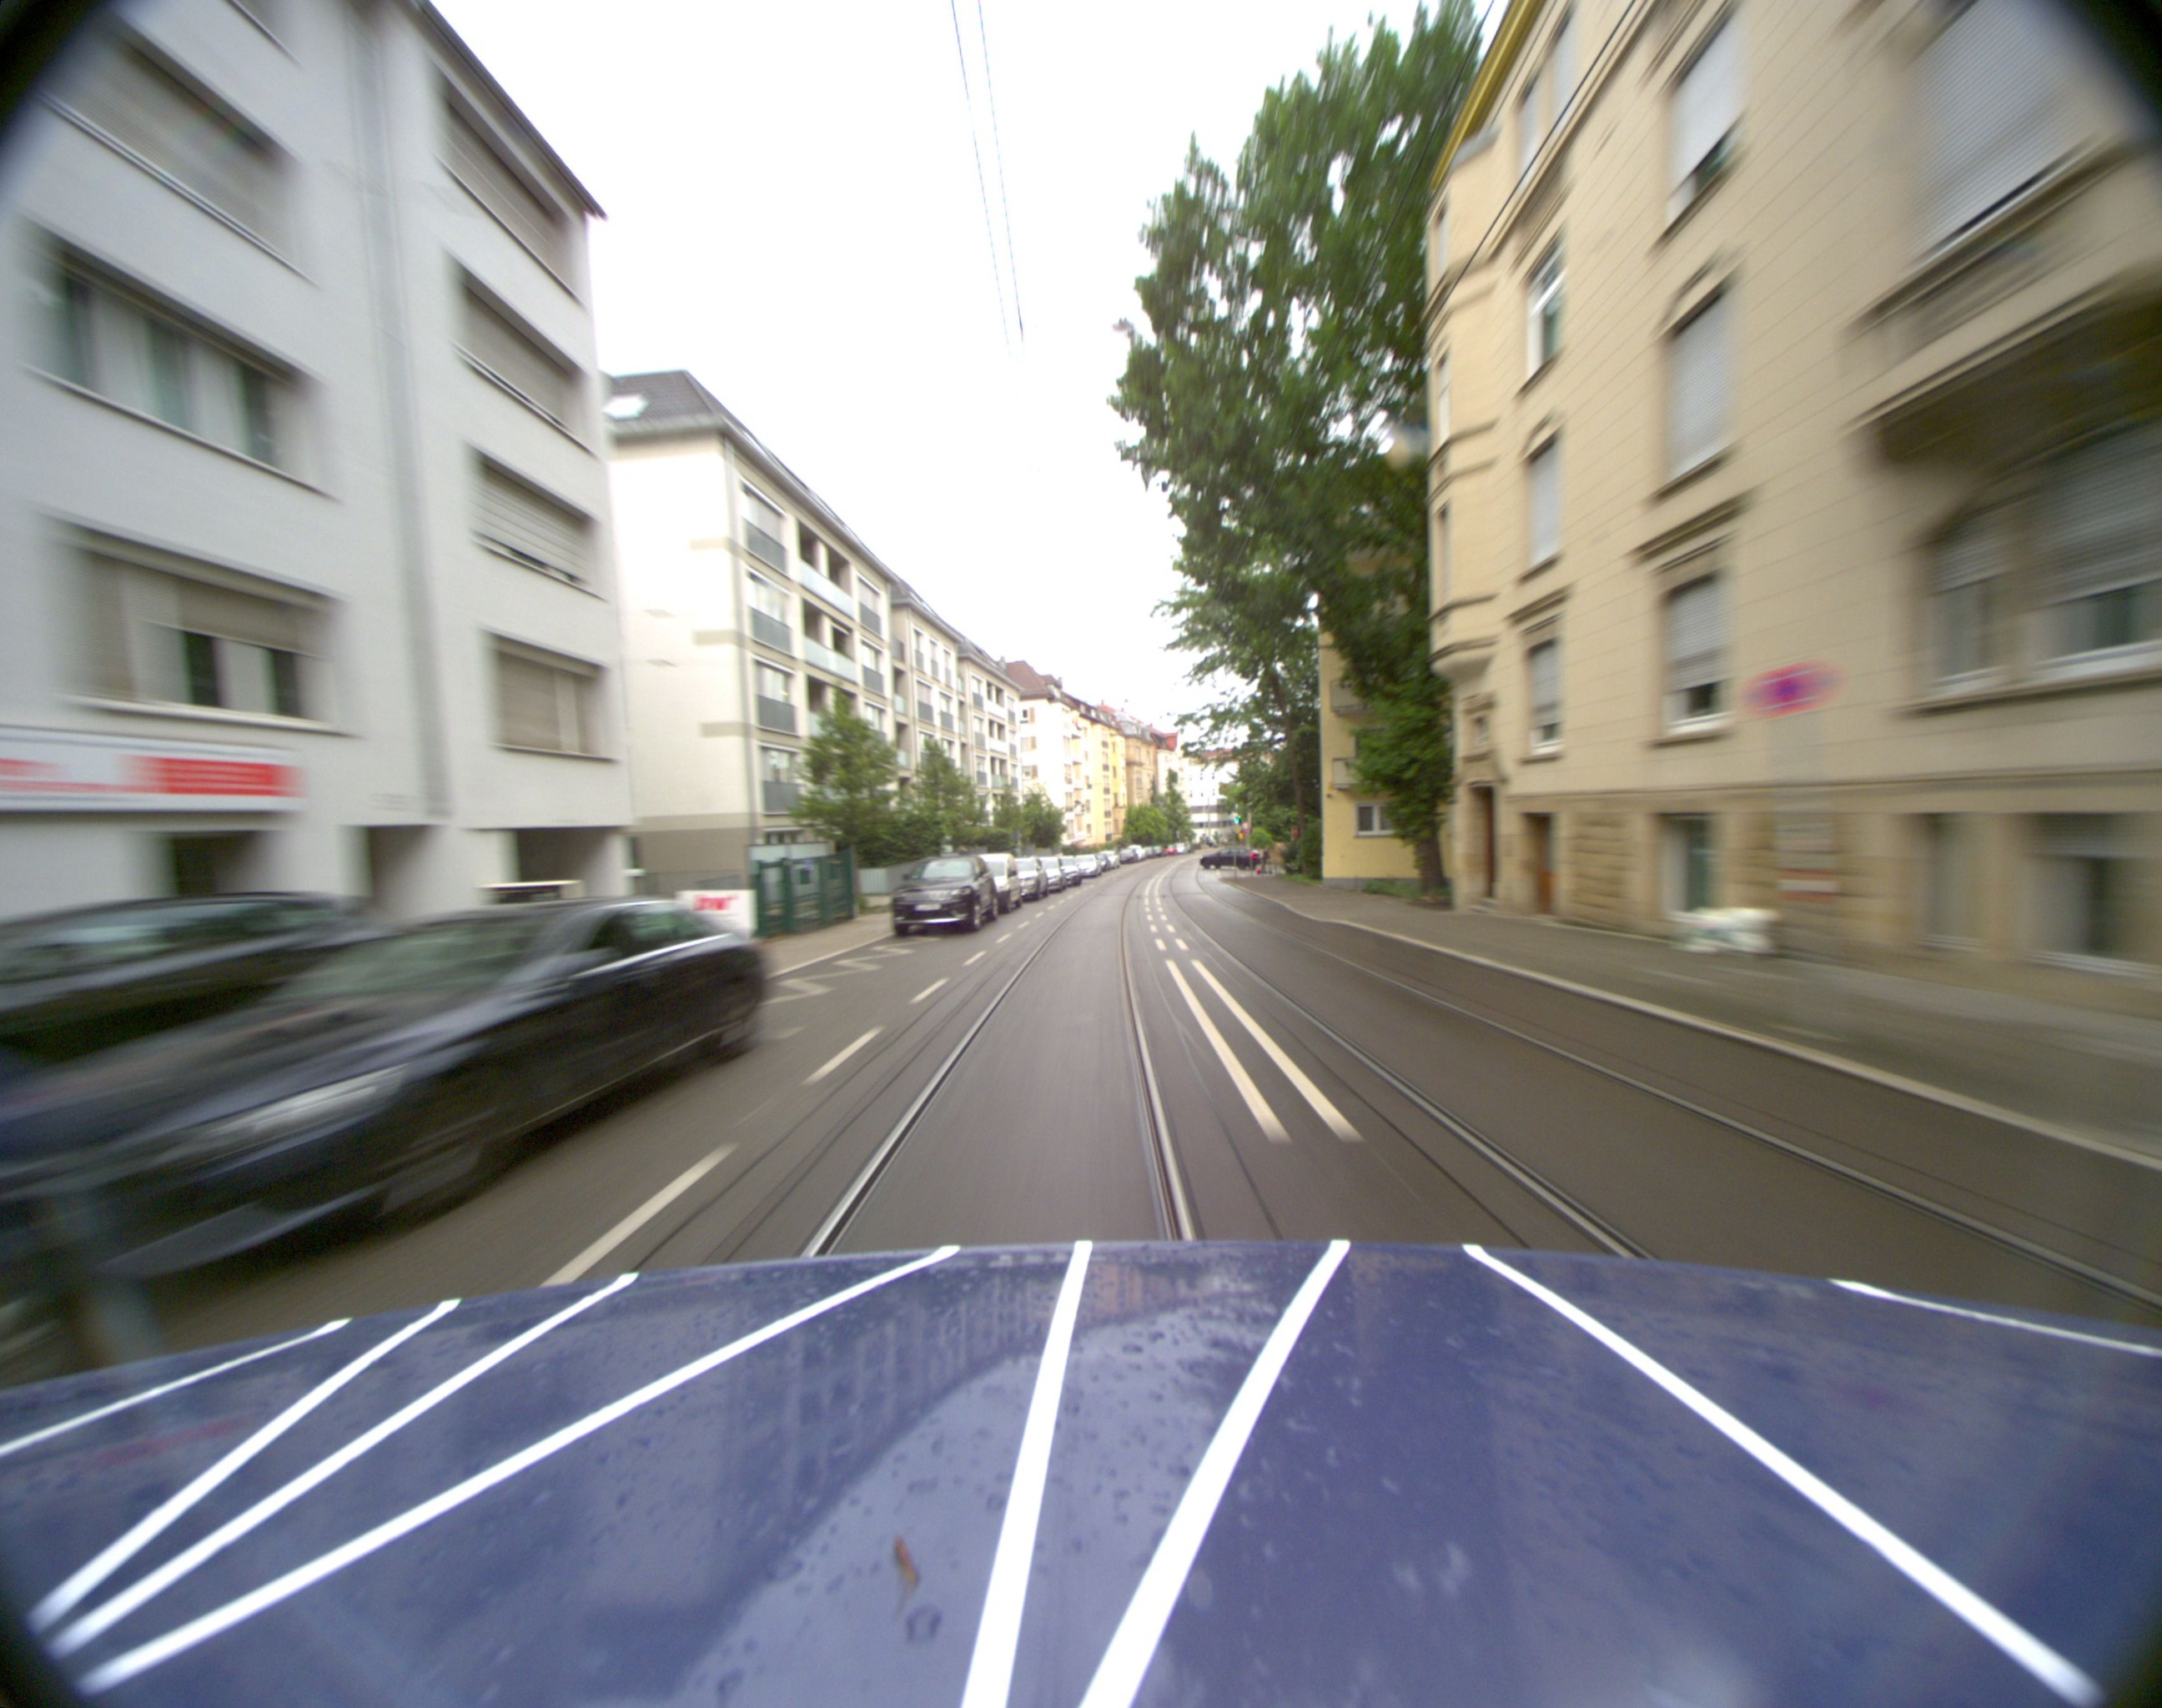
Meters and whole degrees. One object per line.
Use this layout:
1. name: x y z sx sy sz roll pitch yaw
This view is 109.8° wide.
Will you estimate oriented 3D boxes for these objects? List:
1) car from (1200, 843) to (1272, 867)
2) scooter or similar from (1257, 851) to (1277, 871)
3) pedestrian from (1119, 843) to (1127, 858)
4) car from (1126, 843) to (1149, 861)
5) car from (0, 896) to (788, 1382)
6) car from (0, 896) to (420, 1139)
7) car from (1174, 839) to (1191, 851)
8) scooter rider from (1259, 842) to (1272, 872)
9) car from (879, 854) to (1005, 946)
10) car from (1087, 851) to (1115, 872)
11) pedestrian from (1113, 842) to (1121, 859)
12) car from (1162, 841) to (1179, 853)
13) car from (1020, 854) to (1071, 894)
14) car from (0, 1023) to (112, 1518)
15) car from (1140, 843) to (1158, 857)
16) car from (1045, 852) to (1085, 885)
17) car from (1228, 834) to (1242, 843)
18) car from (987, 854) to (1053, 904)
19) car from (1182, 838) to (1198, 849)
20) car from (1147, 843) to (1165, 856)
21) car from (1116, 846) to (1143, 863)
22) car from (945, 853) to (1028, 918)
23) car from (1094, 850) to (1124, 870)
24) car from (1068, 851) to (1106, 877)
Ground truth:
1. car: 11.474 0.034 56.303 4.757 1.668 2.075 1 3 38
2. scooter or similar: 12.065 0.444 49.324 1.088 1.254 0.645 -2 2 4
3. pedestrian: 4.502 -0.388 81.789 0.666 1.560 0.915 1 2 15
4. car: 5.866 -0.240 78.891 1.797 1.613 3.870 -4 1 11
5. car: -3.866 1.181 5.035 1.798 1.429 4.611 -4 0 3
6. car: -7.935 1.225 5.758 1.816 1.418 4.155 -5 0 8
7. car: 14.517 -1.304 108.394 1.612 1.434 3.692 -3 1 18
8. scooter rider: 11.955 0.186 49.325 0.689 1.847 0.645 -2 2 4
9. car: -3.220 0.985 18.701 1.947 1.785 4.821 -4 1 2
10. car: 1.545 0.559 58.316 1.599 1.416 3.516 -3 1 9
11. pedestrian: 3.642 -0.328 76.844 0.716 1.703 0.665 1 2 15
12. car: 11.741 -0.912 99.728 1.555 1.360 3.127 -3 1 18
13. car: -1.573 0.894 35.707 1.836 1.618 4.664 -3 1 3
14. car: -3.968 1.244 0.437 1.682 1.330 3.883 -4 0 3
15. car: 7.887 -0.458 87.612 1.589 1.434 3.478 -4 1 12
16. car: -0.811 0.755 41.478 1.980 1.575 4.566 -3 1 1
17. car: 30.617 -3.116 151.187 1.795 1.502 4.005 -1 2 25
18. car: -2.329 0.919 30.176 1.836 1.647 4.687 -3 1 5
19. car: 16.319 -1.530 113.470 1.612 1.434 3.692 -3 1 18
20. car: 9.190 -0.608 92.462 1.657 1.360 3.638 -3 1 13
21. car: 4.737 0.010 73.602 1.797 1.444 4.106 -3 1 14
22. car: -2.894 0.913 24.189 1.782 1.785 4.472 -3 0 3
23. car: 2.373 0.435 62.986 1.721 1.458 4.393 -3 1 11
24. car: 0.466 0.656 50.864 1.862 1.507 4.791 -3 1 7
